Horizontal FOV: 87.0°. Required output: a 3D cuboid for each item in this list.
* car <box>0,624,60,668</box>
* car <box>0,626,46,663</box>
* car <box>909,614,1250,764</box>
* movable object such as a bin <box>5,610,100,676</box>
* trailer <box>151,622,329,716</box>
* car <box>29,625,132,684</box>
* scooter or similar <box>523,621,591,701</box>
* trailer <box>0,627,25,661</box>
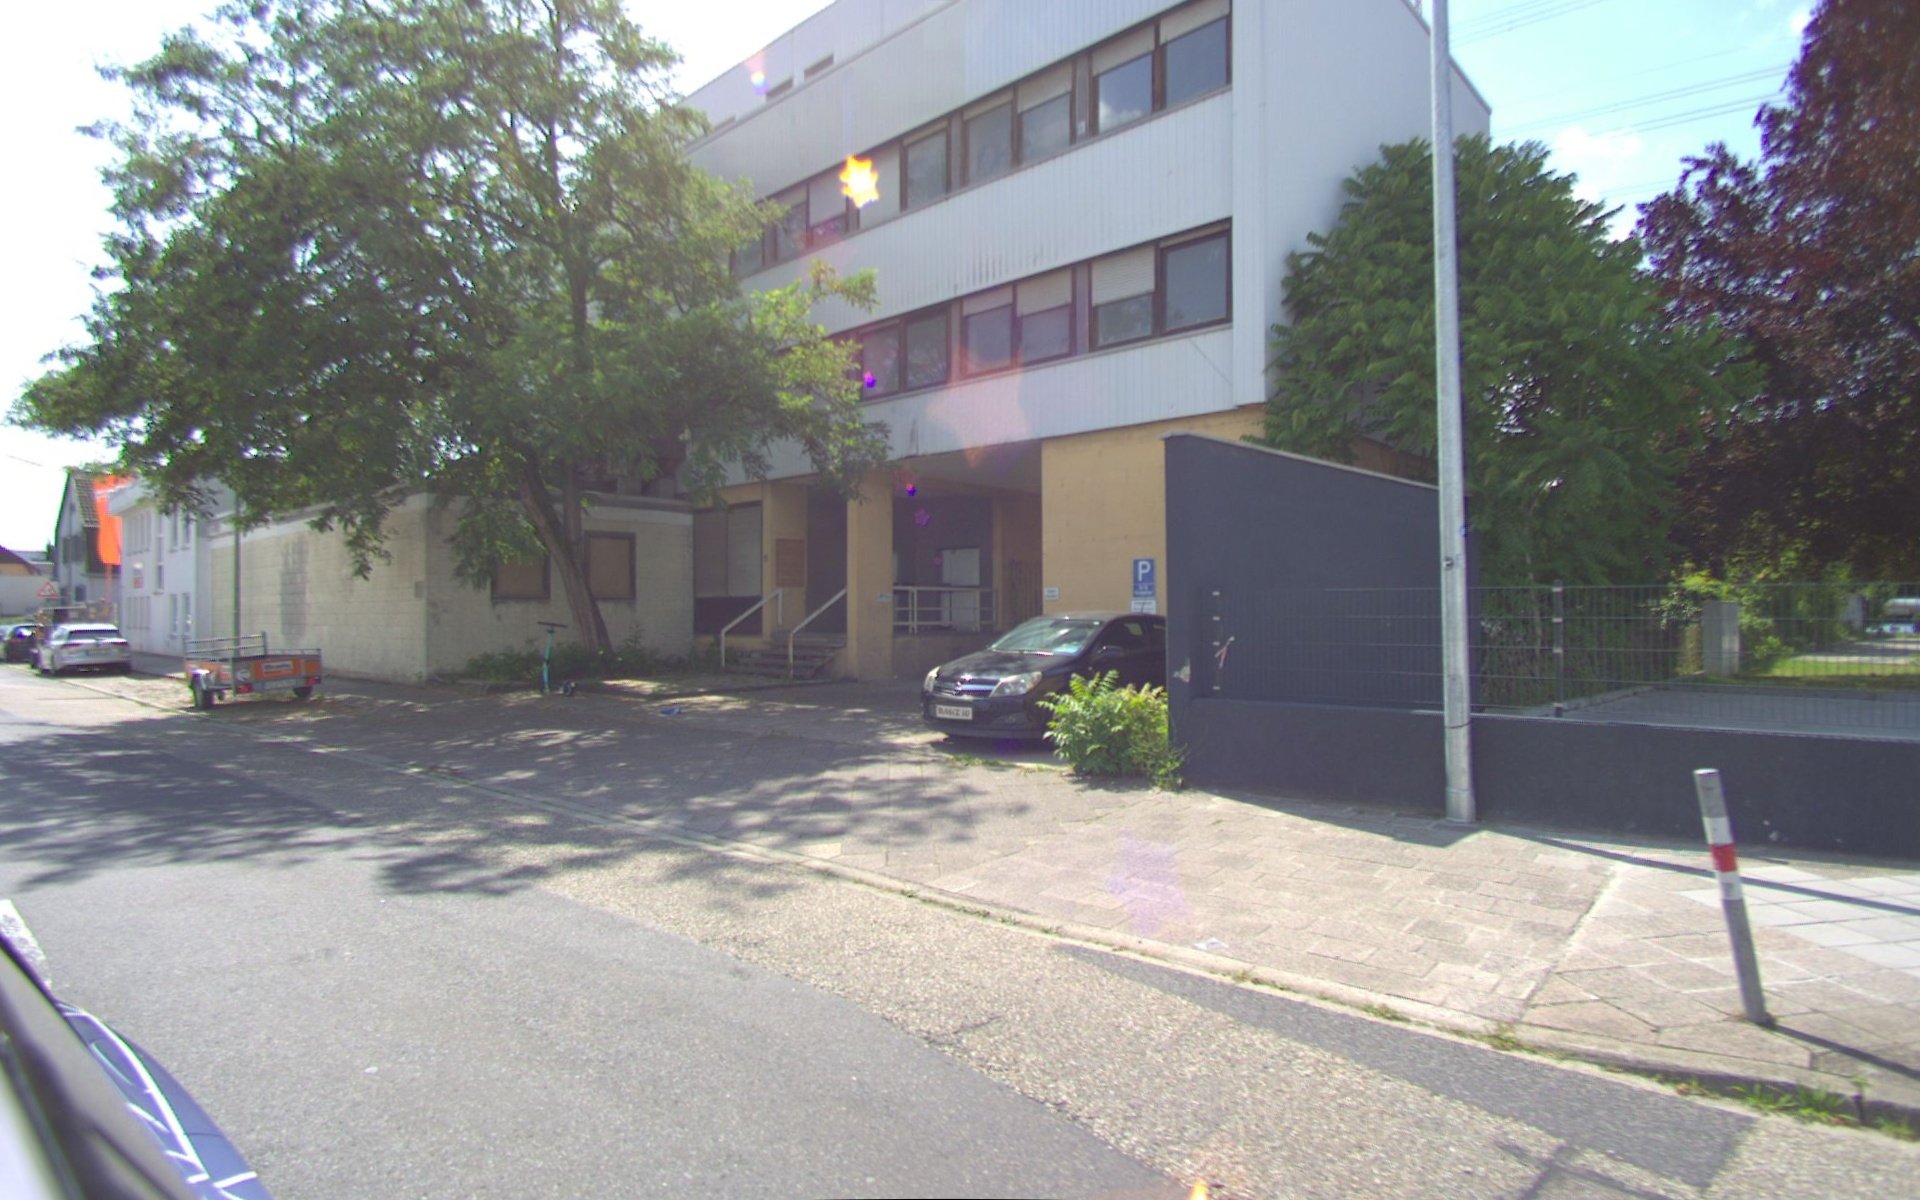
[{"bbox_3d":[-35.186,1.687,37.871,4.221,1.466,1.656,-1,1,41],"label":"car"},{"bbox_3d":[-38.881,1.809,41.423,3.881,1.387,1.656,-1,1,40],"label":"car"},{"bbox_3d":[1.480,0.852,11.416,1.795,1.372,3.948,-1,-1,44],"label":"car"},{"bbox_3d":[-29.993,1.363,33.388,5.135,1.933,1.597,-1,2,41],"label":"movable object such as a bin"},{"bbox_3d":[-13.531,1.197,18.915,4.334,1.449,1.748,-1,2,42],"label":"trailer"},{"bbox_3d":[-25.469,1.518,29.260,4.512,1.466,1.655,-1,1,42],"label":"car"},{"bbox_3d":[-6.947,1.026,17.425,1.360,1.288,0.477,-1,1,42],"label":"scooter or similar"},{"bbox_3d":[-43.257,1.961,45.044,5.047,1.387,1.750,-1,1,40],"label":"trailer"}]
